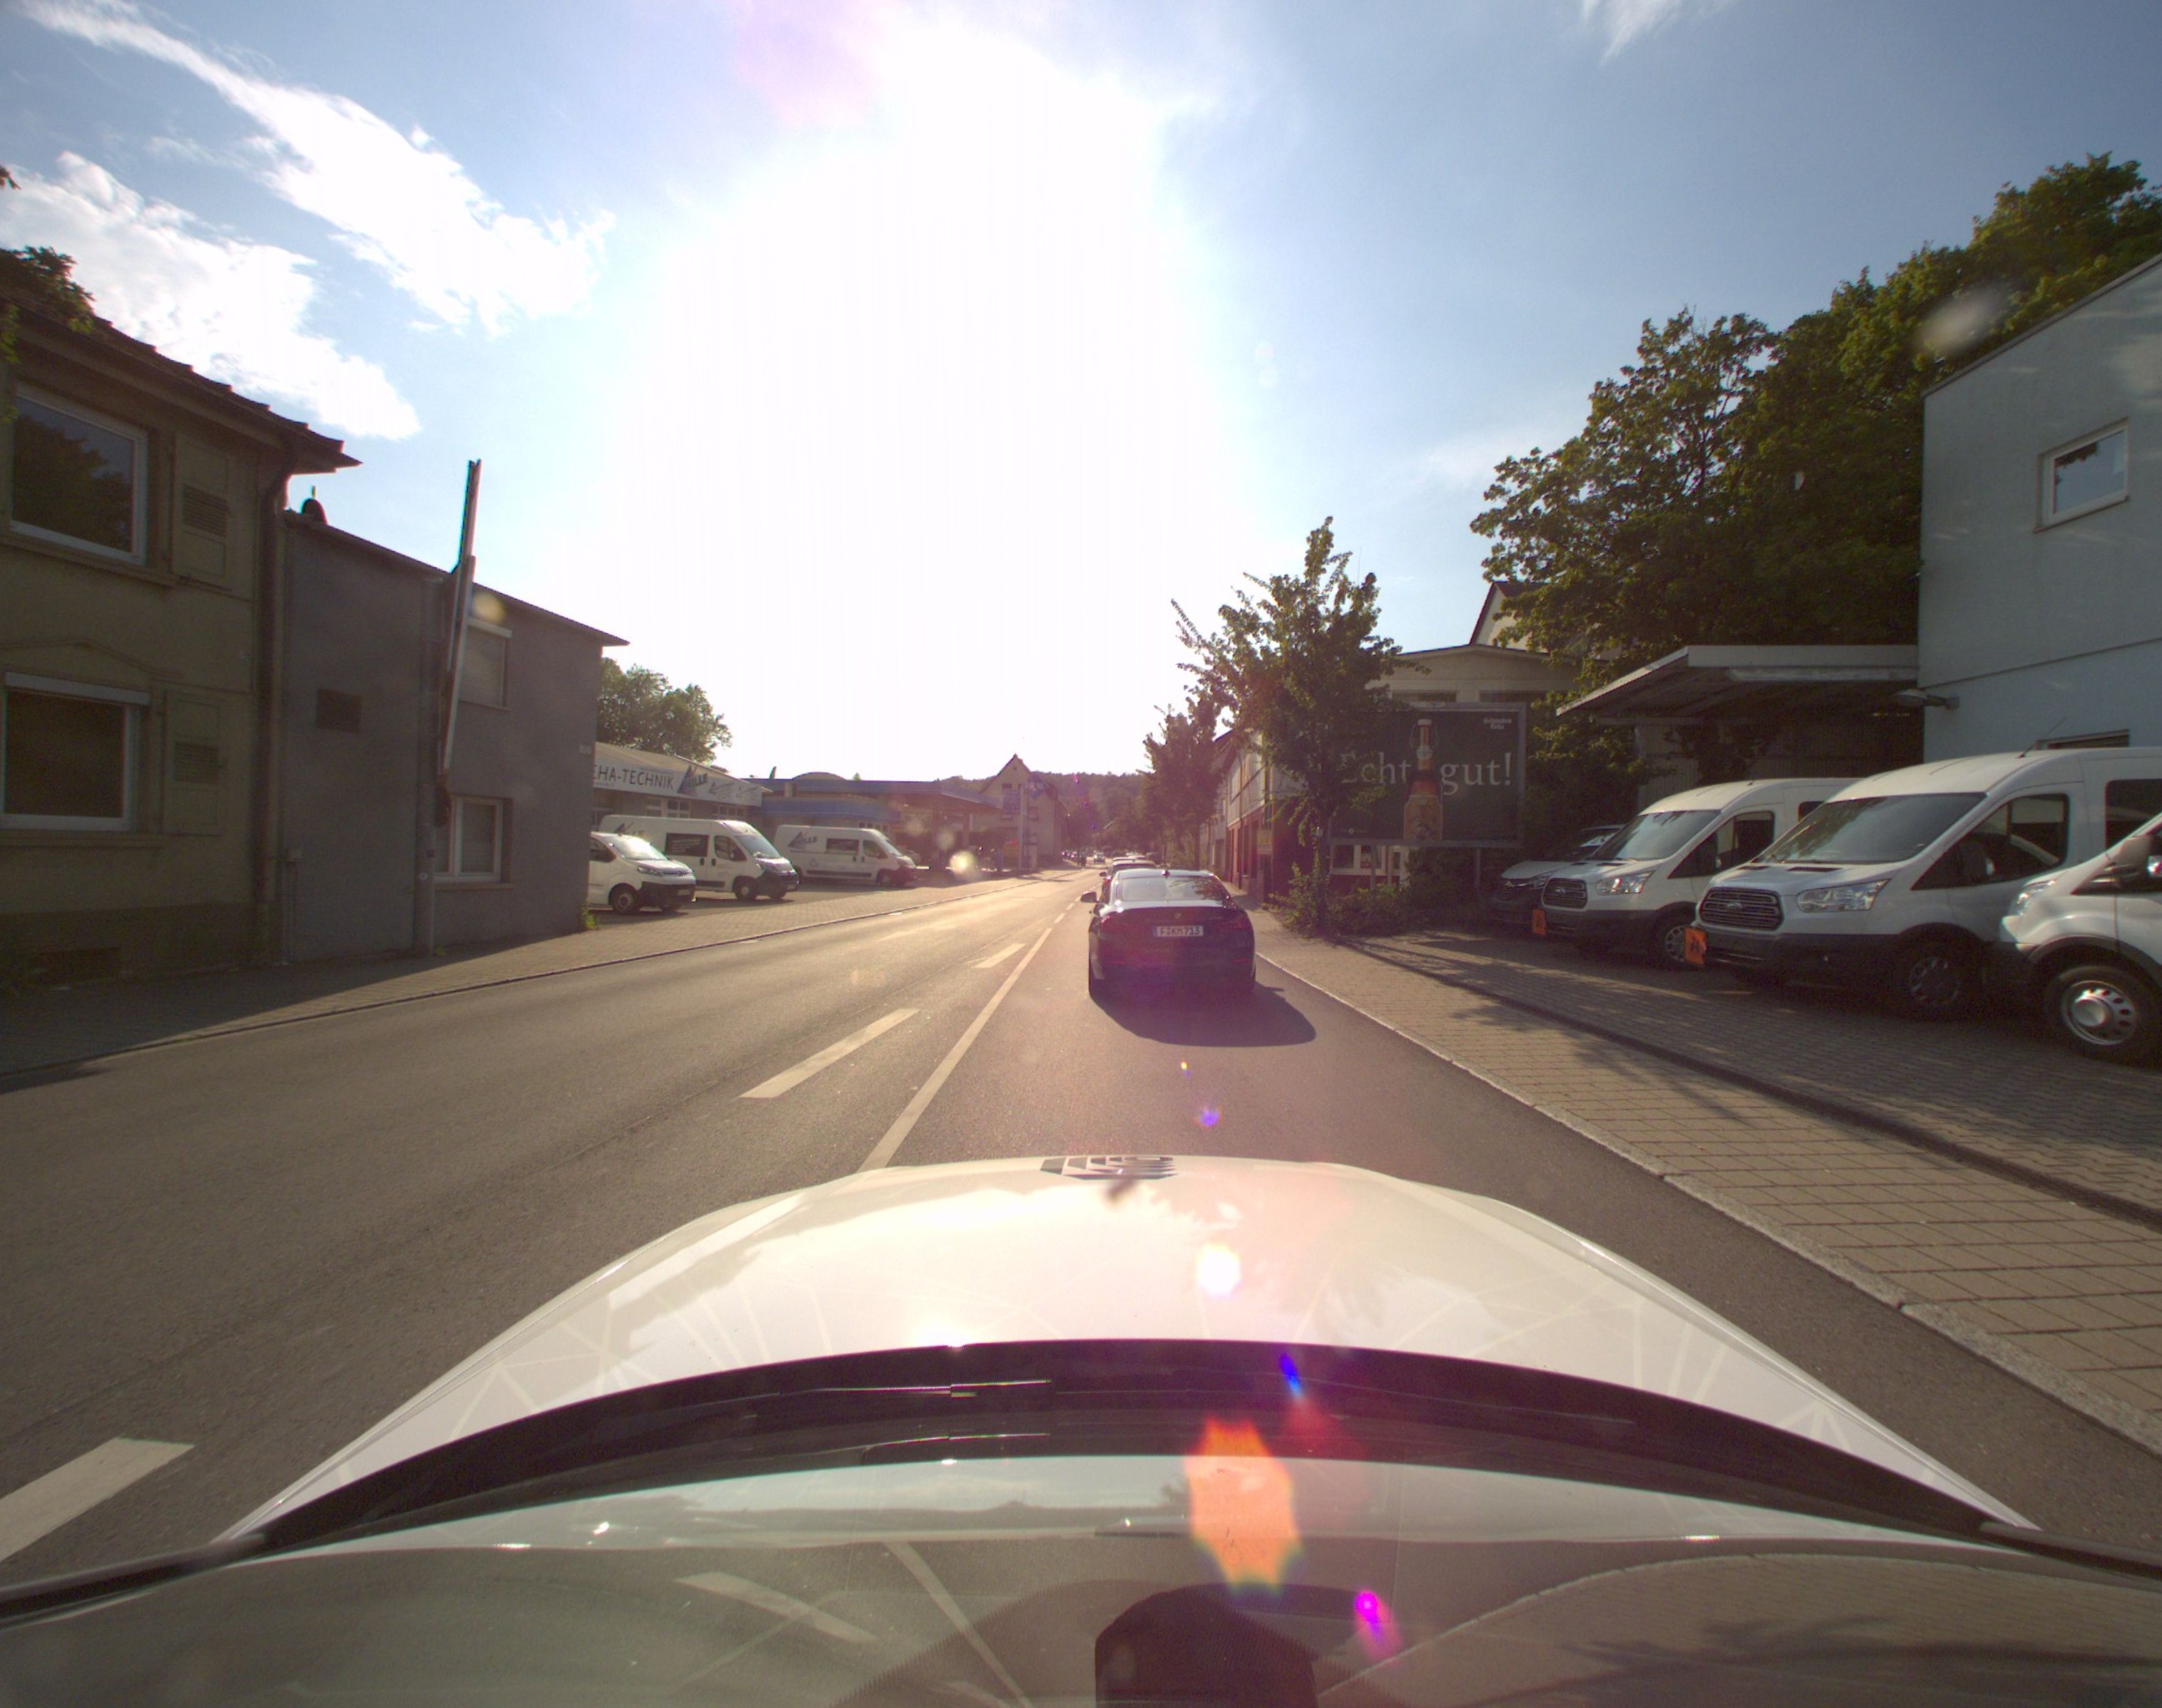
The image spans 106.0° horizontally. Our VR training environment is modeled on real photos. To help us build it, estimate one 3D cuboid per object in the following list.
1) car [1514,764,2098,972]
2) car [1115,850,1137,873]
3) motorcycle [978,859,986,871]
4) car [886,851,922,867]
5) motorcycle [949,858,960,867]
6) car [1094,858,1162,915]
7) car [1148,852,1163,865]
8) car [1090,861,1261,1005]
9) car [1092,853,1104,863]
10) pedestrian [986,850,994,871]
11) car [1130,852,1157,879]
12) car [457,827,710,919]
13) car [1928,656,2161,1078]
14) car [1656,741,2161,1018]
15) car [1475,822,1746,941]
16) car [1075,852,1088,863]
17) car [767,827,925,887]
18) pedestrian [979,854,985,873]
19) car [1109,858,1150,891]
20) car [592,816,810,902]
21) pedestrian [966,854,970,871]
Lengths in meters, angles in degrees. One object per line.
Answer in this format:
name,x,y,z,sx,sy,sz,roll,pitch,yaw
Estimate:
car,9.344,0.164,10.914,6.023,2.516,2.044,0,0,0
car,3.498,0.544,62.982,1.595,1.767,3.416,0,0,5
motorcycle,-8.026,0.907,65.821,0.362,0.943,1.696,0,0,2
car,-16.231,0.446,74.555,3.156,1.427,1.432,0,0,-15
motorcycle,-10.287,0.706,66.383,0.456,0.730,1.478,0,0,10
car,1.400,0.860,22.984,1.763,1.456,3.521,0,0,5
car,9.151,0.554,100.138,1.591,1.485,3.476,1,0,2
car,1.001,0.805,10.233,1.693,1.369,4.264,-1,0,2
car,2.451,0.544,116.936,1.591,1.485,3.476,1,0,2
pedestrian,-7.381,0.518,66.310,0.608,1.670,0.442,0,0,0
car,3.842,0.676,50.573,1.585,1.600,3.896,0,0,3
car,-11.868,0.425,19.604,4.951,1.999,1.938,1,0,5
car,7.882,0.090,3.328,2.141,2.680,6.606,0,0,2
car,9.339,0.211,7.961,6.023,2.363,2.044,0,0,0
car,8.826,0.442,13.770,3.588,1.894,1.586,0,0,-1
car,0.113,0.460,112.918,1.591,1.485,3.476,1,0,2
car,-10.105,0.113,35.333,6.133,2.444,2.251,1,0,3
pedestrian,-8.061,0.805,66.293,0.406,1.547,0.433,0,0,0
car,2.225,0.883,36.896,1.746,1.414,3.426,0,0,4
car,-11.859,0.128,25.618,5.888,2.480,2.198,1,0,7
pedestrian,-9.036,0.685,65.187,0.286,1.366,0.263,0,0,-1
